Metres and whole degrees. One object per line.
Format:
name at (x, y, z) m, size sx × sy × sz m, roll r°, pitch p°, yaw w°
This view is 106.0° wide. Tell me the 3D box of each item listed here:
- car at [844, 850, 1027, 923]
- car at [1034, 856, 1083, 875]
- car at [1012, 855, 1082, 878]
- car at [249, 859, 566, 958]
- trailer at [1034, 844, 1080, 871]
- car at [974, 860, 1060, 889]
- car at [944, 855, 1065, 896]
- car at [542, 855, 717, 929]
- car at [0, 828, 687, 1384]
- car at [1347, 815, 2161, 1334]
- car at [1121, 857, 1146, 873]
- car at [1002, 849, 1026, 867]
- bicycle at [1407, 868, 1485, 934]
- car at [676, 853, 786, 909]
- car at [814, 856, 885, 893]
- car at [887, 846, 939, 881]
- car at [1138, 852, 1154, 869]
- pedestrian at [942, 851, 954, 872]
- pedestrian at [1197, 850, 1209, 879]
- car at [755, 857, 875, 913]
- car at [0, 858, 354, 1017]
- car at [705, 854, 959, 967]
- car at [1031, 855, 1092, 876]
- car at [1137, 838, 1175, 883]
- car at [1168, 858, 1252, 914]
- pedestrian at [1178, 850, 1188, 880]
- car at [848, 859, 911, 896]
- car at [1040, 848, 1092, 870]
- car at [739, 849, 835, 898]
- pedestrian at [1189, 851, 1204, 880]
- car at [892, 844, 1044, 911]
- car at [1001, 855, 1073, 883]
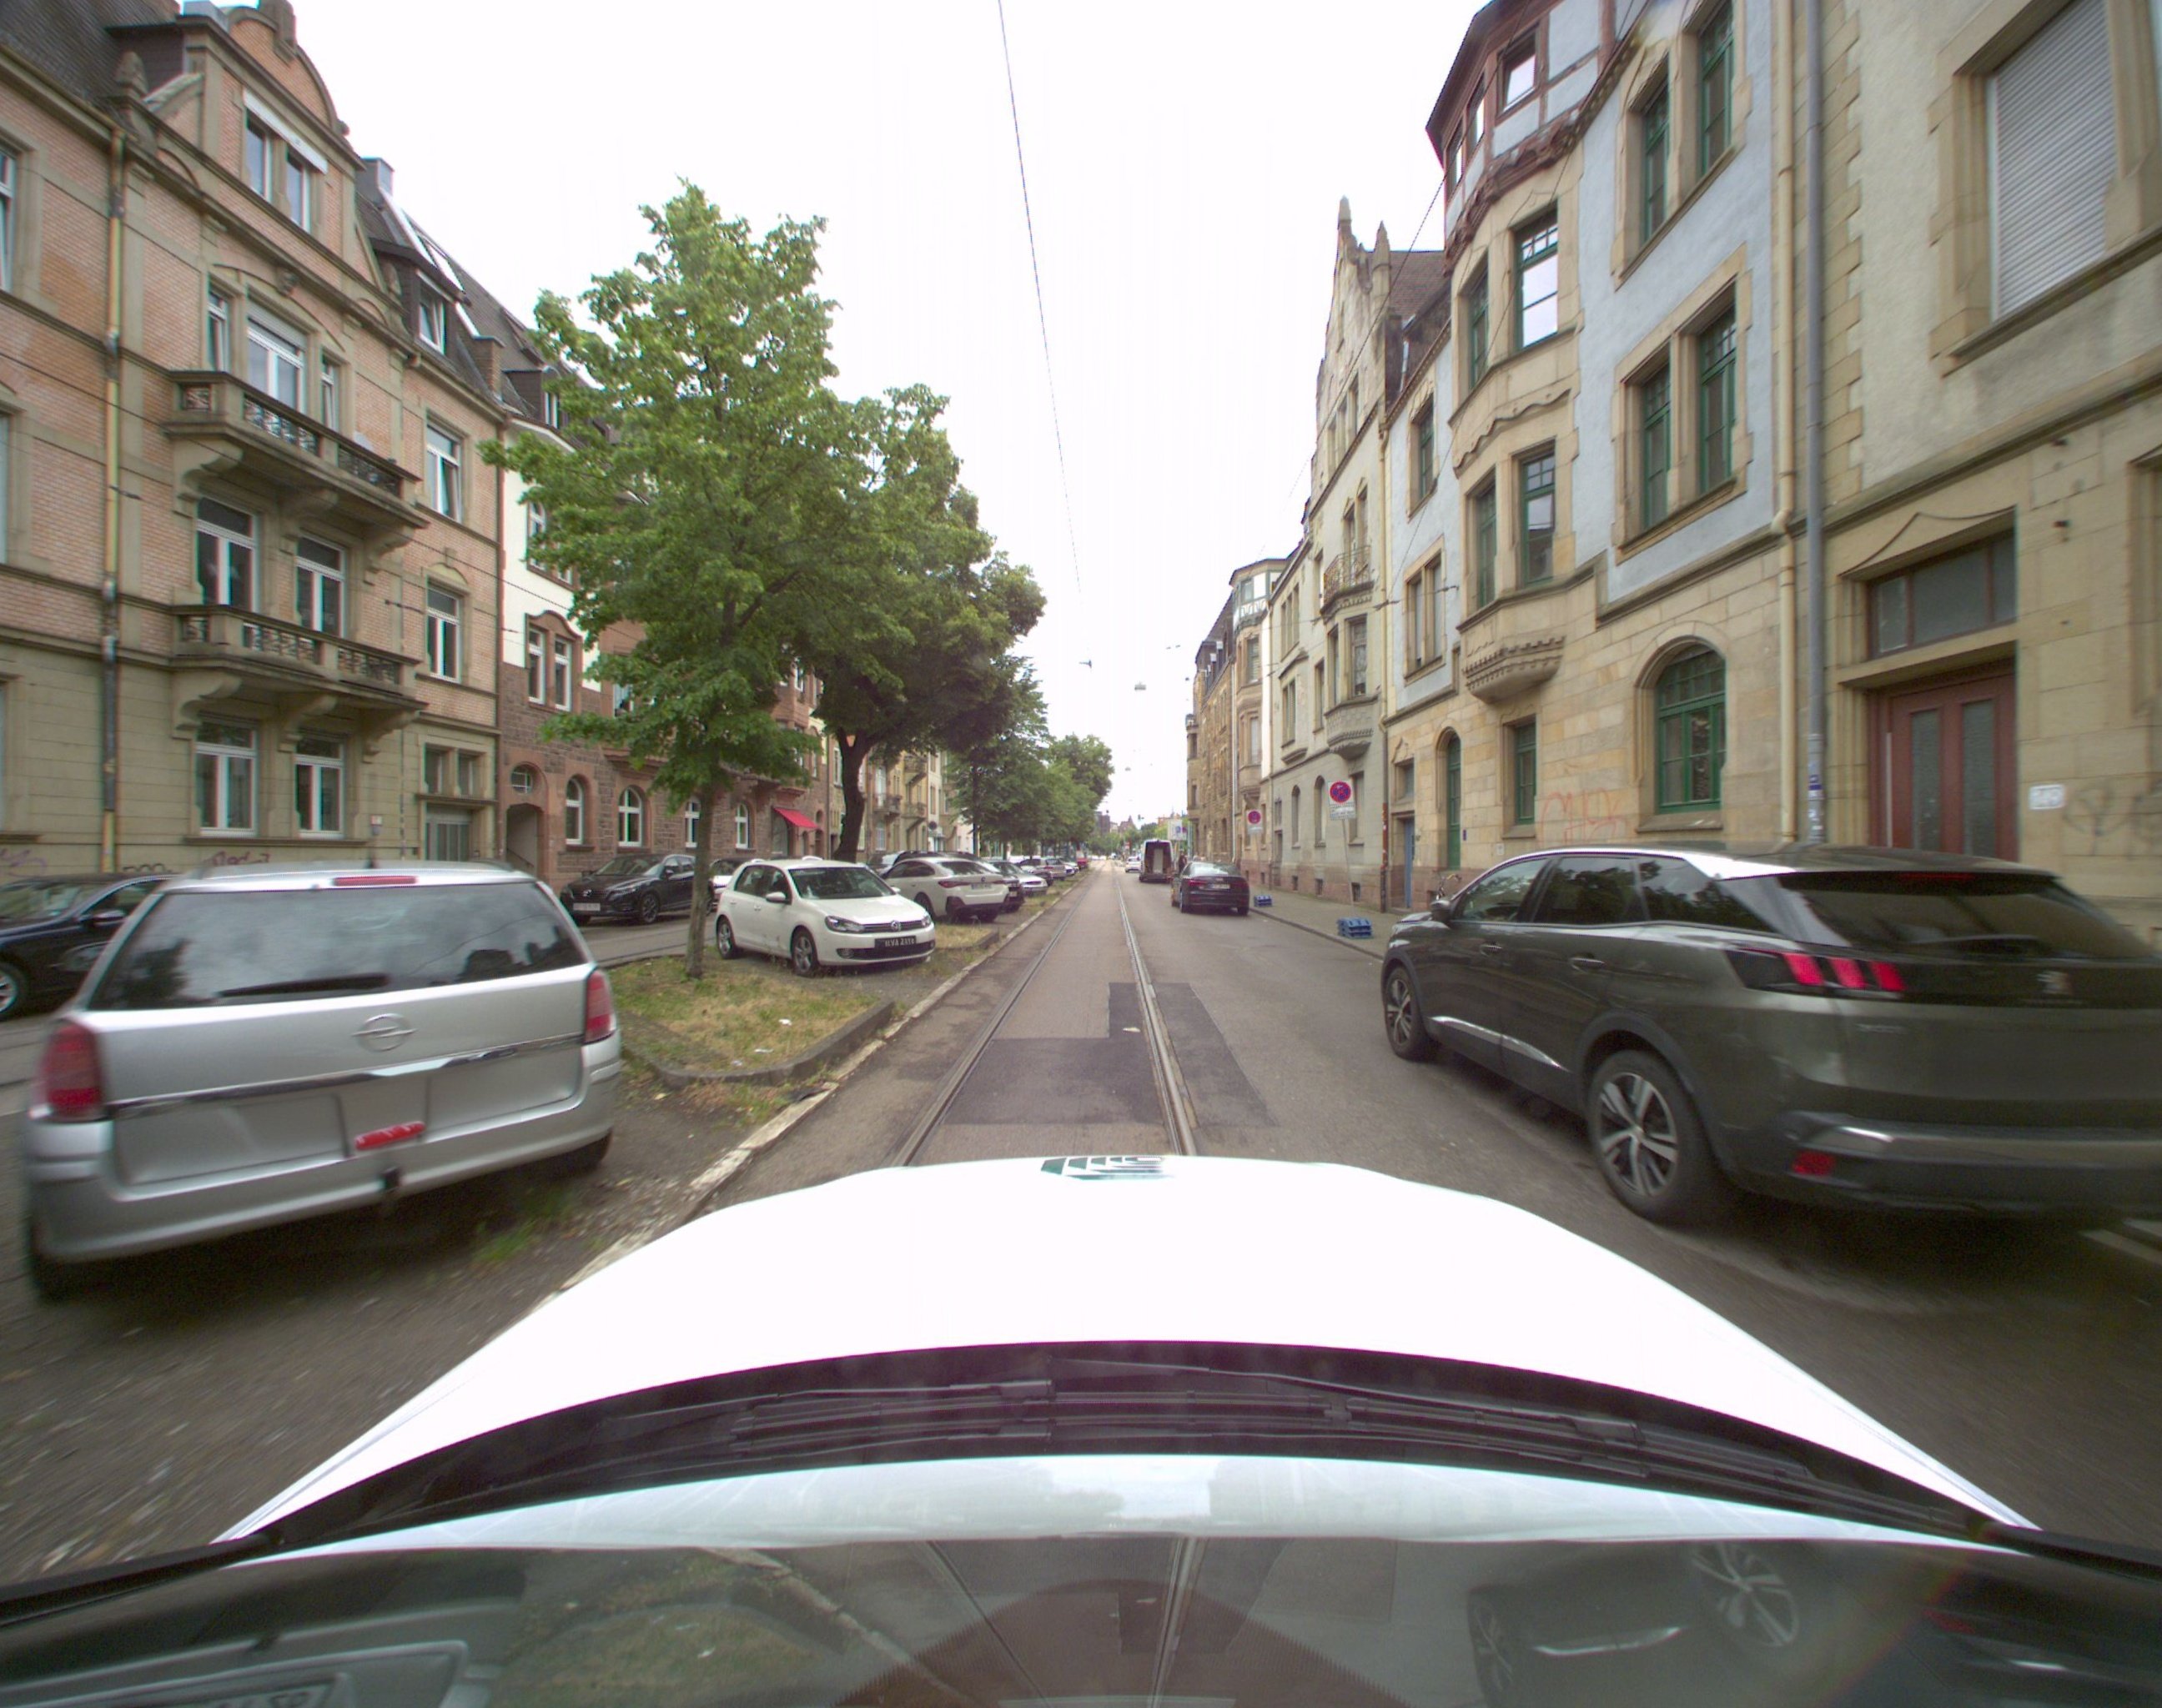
car at (-3.491, 0.688, 18.967) m, size 2.047 × 1.490 × 4.486 m, roll 1°, pitch -1°, yaw -44°
car at (-1.798, 0.865, 64.471) m, size 3.815 × 1.463 × 1.700 m, roll 0°, pitch 0°, yaw 44°
car at (-2.319, 0.792, 54.214) m, size 4.629 × 1.435 × 1.910 m, roll 0°, pitch 0°, yaw 41°
car at (-11.077, 0.808, 13.889) m, size 1.798 × 1.438 × 4.231 m, roll 0°, pitch -1°, yaw 1°
trailer at (-2.125, 0.325, 72.414) m, size 3.624 × 2.344 × 1.943 m, roll 0°, pitch 0°, yaw 35°
car at (-2.903, 0.860, 36.254) m, size 1.678 × 1.202 × 3.914 m, roll 0°, pitch 0°, yaw -45°
car at (-2.811, 0.721, 29.228) m, size 4.610 × 1.368 × 1.768 m, roll 0°, pitch 0°, yaw 45°
car at (-10.788, 0.844, 19.881) m, size 1.762 × 1.628 × 4.321 m, roll 0°, pitch -1°, yaw 1°
car at (-3.844, 0.684, 4.396) m, size 1.874 × 1.493 × 4.510 m, roll 1°, pitch -1°, yaw -42°
car at (3.226, 0.688, 4.902) m, size 1.753 × 1.622 × 4.694 m, roll 0°, pitch 0°, yaw 0°
car at (4.853, 0.985, 74.469) m, size 1.771 × 1.472 × 4.022 m, roll 0°, pitch 0°, yaw 11°
car at (-6.370, 0.392, 77.323) m, size 1.798 × 1.579 × 4.548 m, roll 0°, pitch -1°, yaw 1°
bicycle at (6.888, 0.850, 15.473) m, size 0.609 × 1.126 × 1.917 m, roll 3°, pitch 0°, yaw 1°
car at (-10.504, 0.769, 24.724) m, size 1.656 × 1.560 × 3.723 m, roll 0°, pitch -1°, yaw 1°
car at (-10.098, 0.853, 35.921) m, size 1.734 × 1.542 × 4.555 m, roll 0°, pitch -1°, yaw 1°
car at (-9.809, 0.525, 47.973) m, size 1.874 × 1.952 × 5.095 m, roll 0°, pitch -1°, yaw 1°
car at (7.738, 0.758, 97.214) m, size 1.775 × 1.962 × 4.386 m, roll 0°, pitch 0°, yaw 4°
pedestrian at (-11.283, 0.621, 68.997) m, size 0.795 × 1.766 × 0.900 m, roll 0°, pitch 0°, yaw 1°
pedestrian at (7.491, 0.652, 50.046) m, size 0.507 × 1.717 × 0.579 m, roll -2°, pitch 0°, yaw -8°
car at (-7.488, 0.833, 23.439) m, size 1.798 × 1.453 × 4.653 m, roll 0°, pitch -1°, yaw 1°
car at (-10.994, 0.797, 9.055) m, size 1.798 × 1.490 × 4.388 m, roll 0°, pitch -1°, yaw 1°
car at (-3.738, 0.675, 11.799) m, size 1.874 × 1.312 × 4.079 m, roll 1°, pitch 0°, yaw -44°
car at (-1.410, 0.817, 58.093) m, size 4.286 × 1.435 × 1.910 m, roll 0°, pitch 0°, yaw 44°
car at (4.640, 0.375, 51.212) m, size 2.005 × 2.549 × 7.021 m, roll 2°, pitch 0°, yaw 3°
car at (3.660, 0.853, 23.997) m, size 1.794 × 1.438 × 5.197 m, roll 0°, pitch 0°, yaw 2°
pedestrian at (6.235, 0.690, 49.983) m, size 0.497 × 1.815 × 0.804 m, roll -2°, pitch 0°, yaw 3°
car at (-10.152, 1.145, 41.361) m, size 1.807 × 1.781 × 5.118 m, roll 0°, pitch -1°, yaw 1°
car at (-1.425, 0.452, 75.309) m, size 4.707 × 1.974 × 1.972 m, roll 0°, pitch 0°, yaw 40°
car at (-10.608, 0.674, 29.749) m, size 1.734 × 1.626 × 4.555 m, roll 0°, pitch -1°, yaw 1°
pedestrian at (6.985, 0.696, 49.220) m, size 0.706 × 1.700 × 0.489 m, roll -2°, pitch 0°, yaw -26°
car at (-3.154, 0.595, 22.107) m, size 1.775 × 1.633 × 4.477 m, roll 1°, pitch -1°, yaw -44°
car at (-2.533, 0.826, 46.487) m, size 4.066 × 1.484 × 1.808 m, roll 0°, pitch 0°, yaw 43°
